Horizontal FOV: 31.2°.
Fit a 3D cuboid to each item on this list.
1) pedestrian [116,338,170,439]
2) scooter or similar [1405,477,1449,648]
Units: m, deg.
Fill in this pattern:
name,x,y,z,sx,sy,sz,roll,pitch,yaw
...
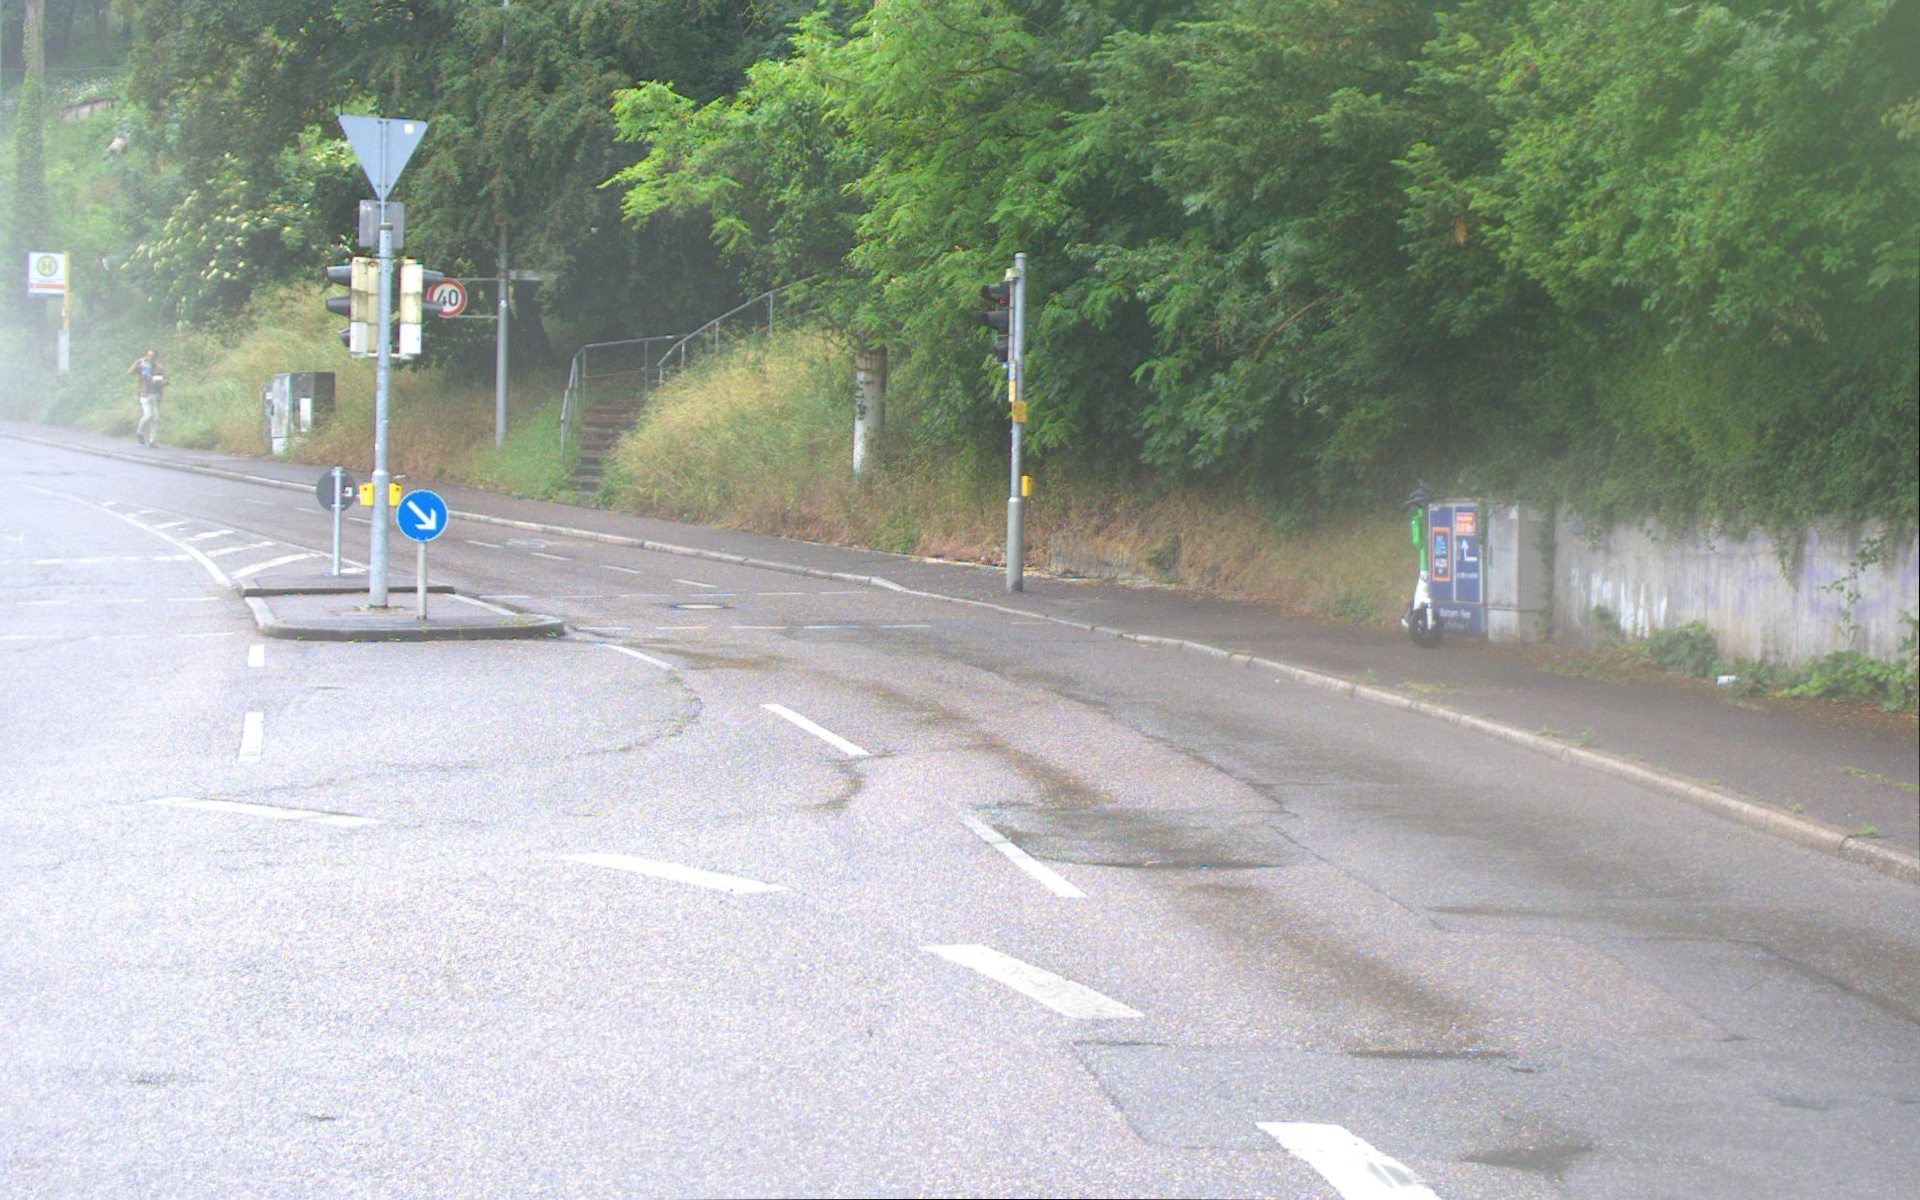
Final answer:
name,x,y,z,sx,sy,sz,roll,pitch,yaw
pedestrian,-14.640,-3.781,61.604,0.880,1.730,0.866,0,0,-17
scooter or similar,3.593,-0.296,26.471,0.322,1.275,0.751,0,4,7
